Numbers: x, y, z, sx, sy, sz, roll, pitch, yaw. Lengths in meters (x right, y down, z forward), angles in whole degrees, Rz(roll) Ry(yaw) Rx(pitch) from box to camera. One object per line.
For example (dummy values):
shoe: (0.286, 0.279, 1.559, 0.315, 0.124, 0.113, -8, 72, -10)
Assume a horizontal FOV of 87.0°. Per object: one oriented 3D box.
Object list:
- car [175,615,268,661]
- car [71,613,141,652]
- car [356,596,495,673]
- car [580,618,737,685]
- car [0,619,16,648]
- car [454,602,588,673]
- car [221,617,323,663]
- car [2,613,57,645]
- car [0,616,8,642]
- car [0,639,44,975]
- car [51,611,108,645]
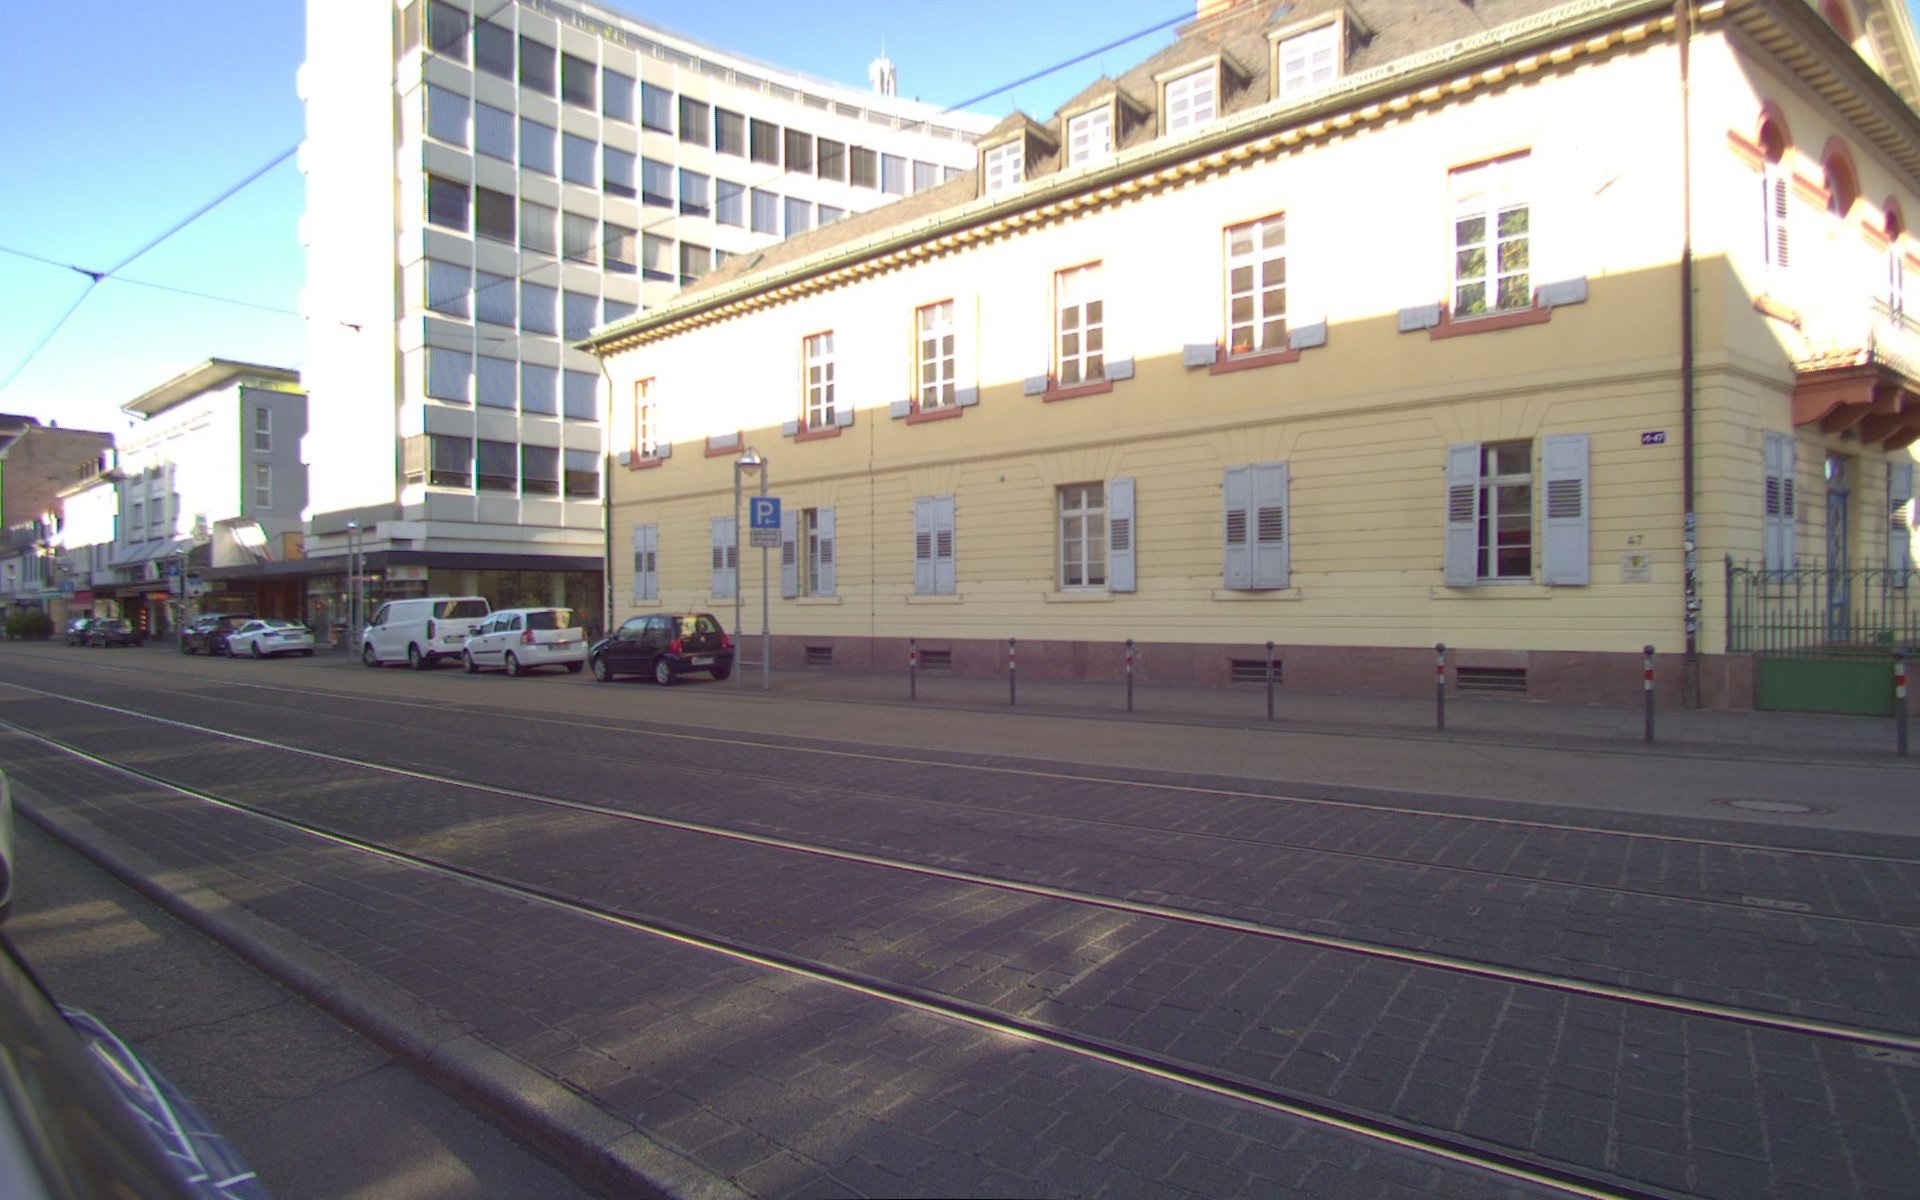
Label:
car: (-29.896, 1.488, 40.942, 4.103, 1.717, 1.975, -1, 0, 38)
car: (-43.893, 1.634, 51.976, 3.995, 1.874, 1.974, -1, 0, 38)
car: (-15.352, 0.967, 28.948, 4.619, 2.029, 2.014, -1, -1, 41)
car: (-6.426, 1.042, 21.474, 3.210, 1.263, 1.667, -1, 0, 39)
car: (-71.126, 2.463, 74.527, 3.998, 2.029, 1.973, -1, -1, 41)
car: (-11.030, 0.888, 25.317, 4.005, 1.621, 1.619, -1, 0, 43)
car: (-25.626, 1.442, 37.624, 4.369, 1.541, 1.974, -1, 0, 39)
car: (-62.846, 1.934, 68.341, 3.996, 2.058, 2.172, -1, -1, 39)
car: (-78.735, 2.353, 81.822, 3.995, 2.029, 1.974, -1, 0, 38)
car: (-6.090, 0.899, 4.775, 3.992, 1.393, 1.862, -1, 0, 36)
car: (-50.306, 1.592, 57.818, 3.994, 1.896, 1.768, -1, -1, 38)
